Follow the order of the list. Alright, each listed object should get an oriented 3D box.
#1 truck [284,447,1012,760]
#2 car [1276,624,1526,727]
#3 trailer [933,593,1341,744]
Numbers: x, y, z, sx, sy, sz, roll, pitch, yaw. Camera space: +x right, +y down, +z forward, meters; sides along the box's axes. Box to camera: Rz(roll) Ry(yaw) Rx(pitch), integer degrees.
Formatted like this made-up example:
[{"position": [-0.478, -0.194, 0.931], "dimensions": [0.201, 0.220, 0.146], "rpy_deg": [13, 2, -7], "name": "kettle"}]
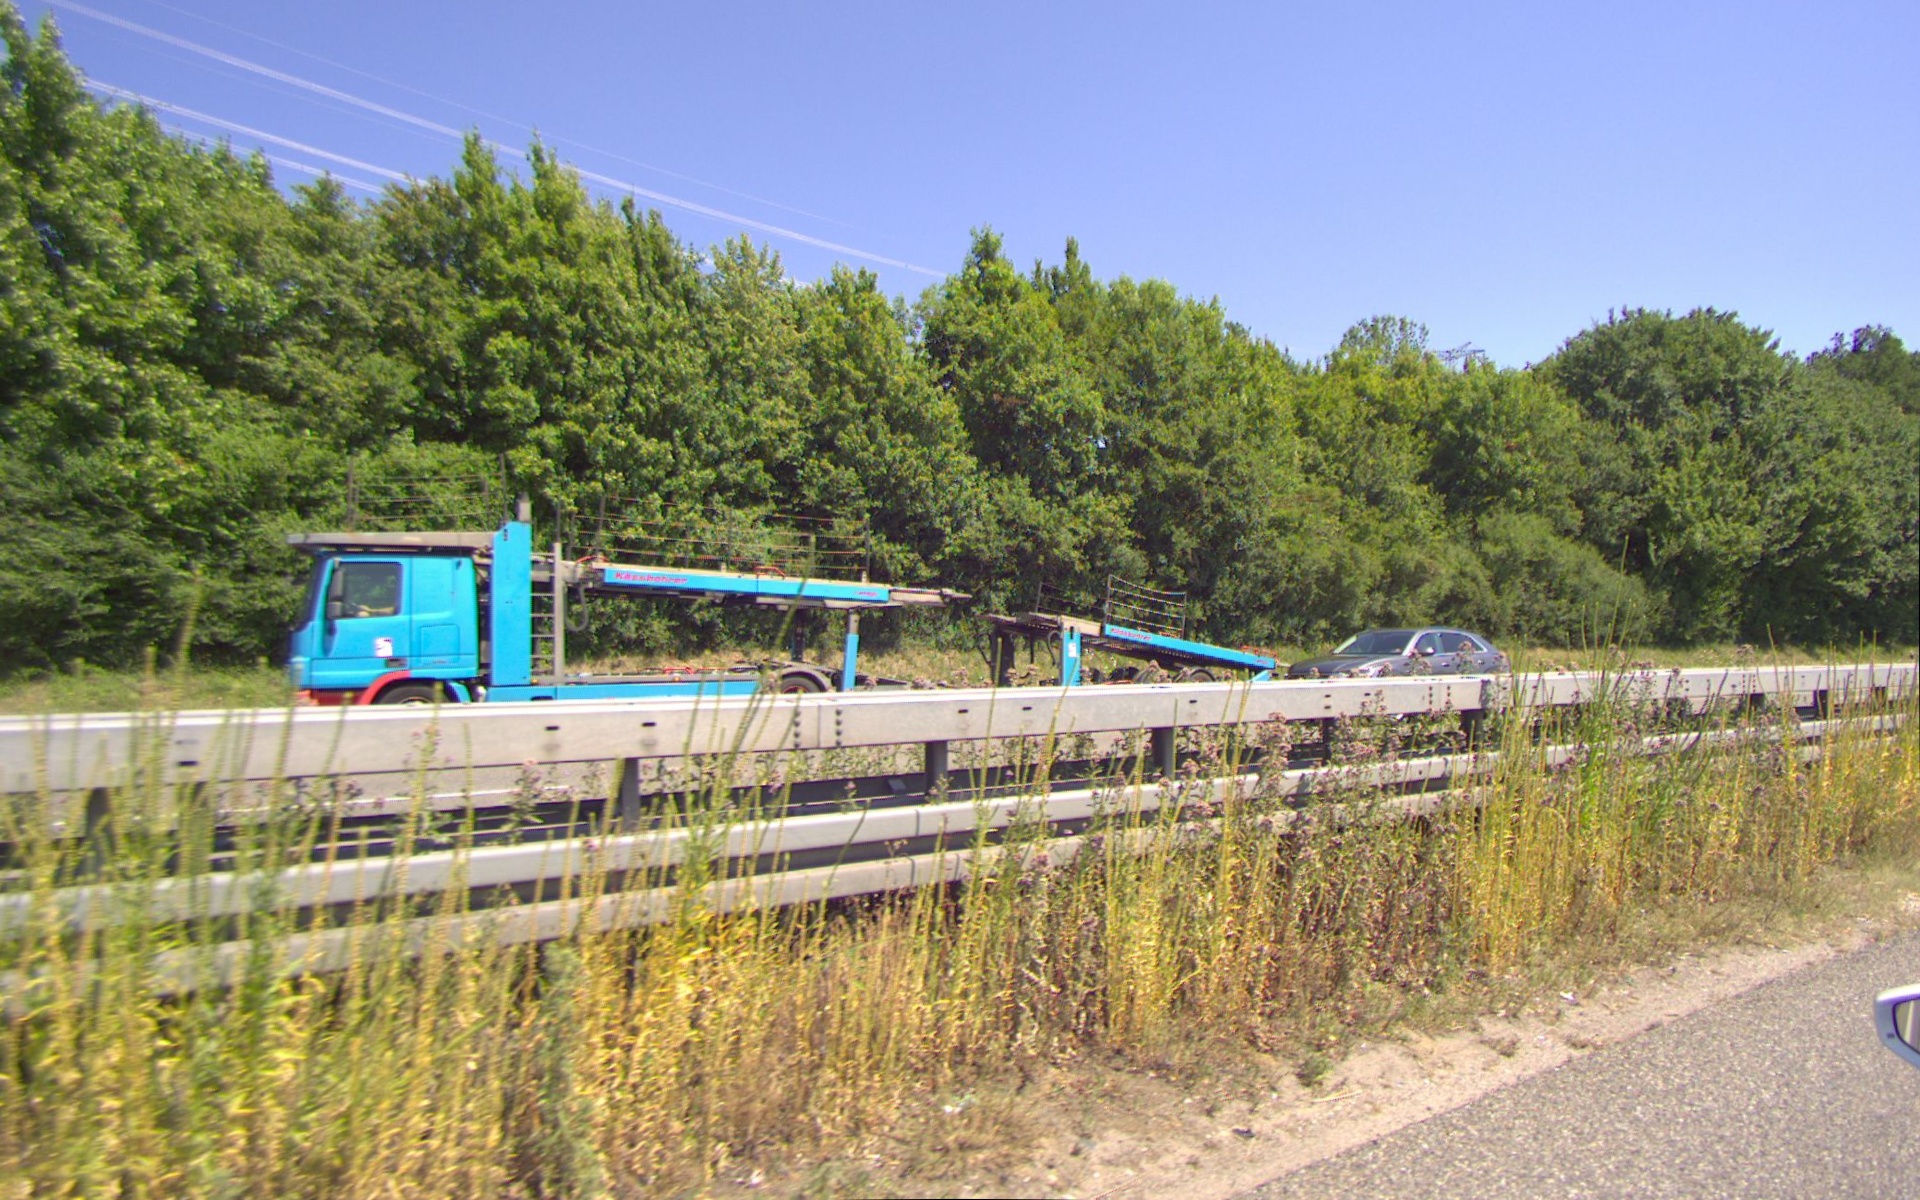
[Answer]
[{"position": [-4.414, 0.202, 16.367], "dimensions": [10.664, 3.852, 2.982], "rpy_deg": [2, -2, -31], "name": "truck"}, {"position": [8.111, 1.327, 18.333], "dimensions": [4.804, 1.678, 1.716], "rpy_deg": [2, -3, -31], "name": "car"}, {"position": [3.896, 1.330, 21.285], "dimensions": [8.429, 2.674, 3.132], "rpy_deg": [2, 0, -30], "name": "trailer"}]
